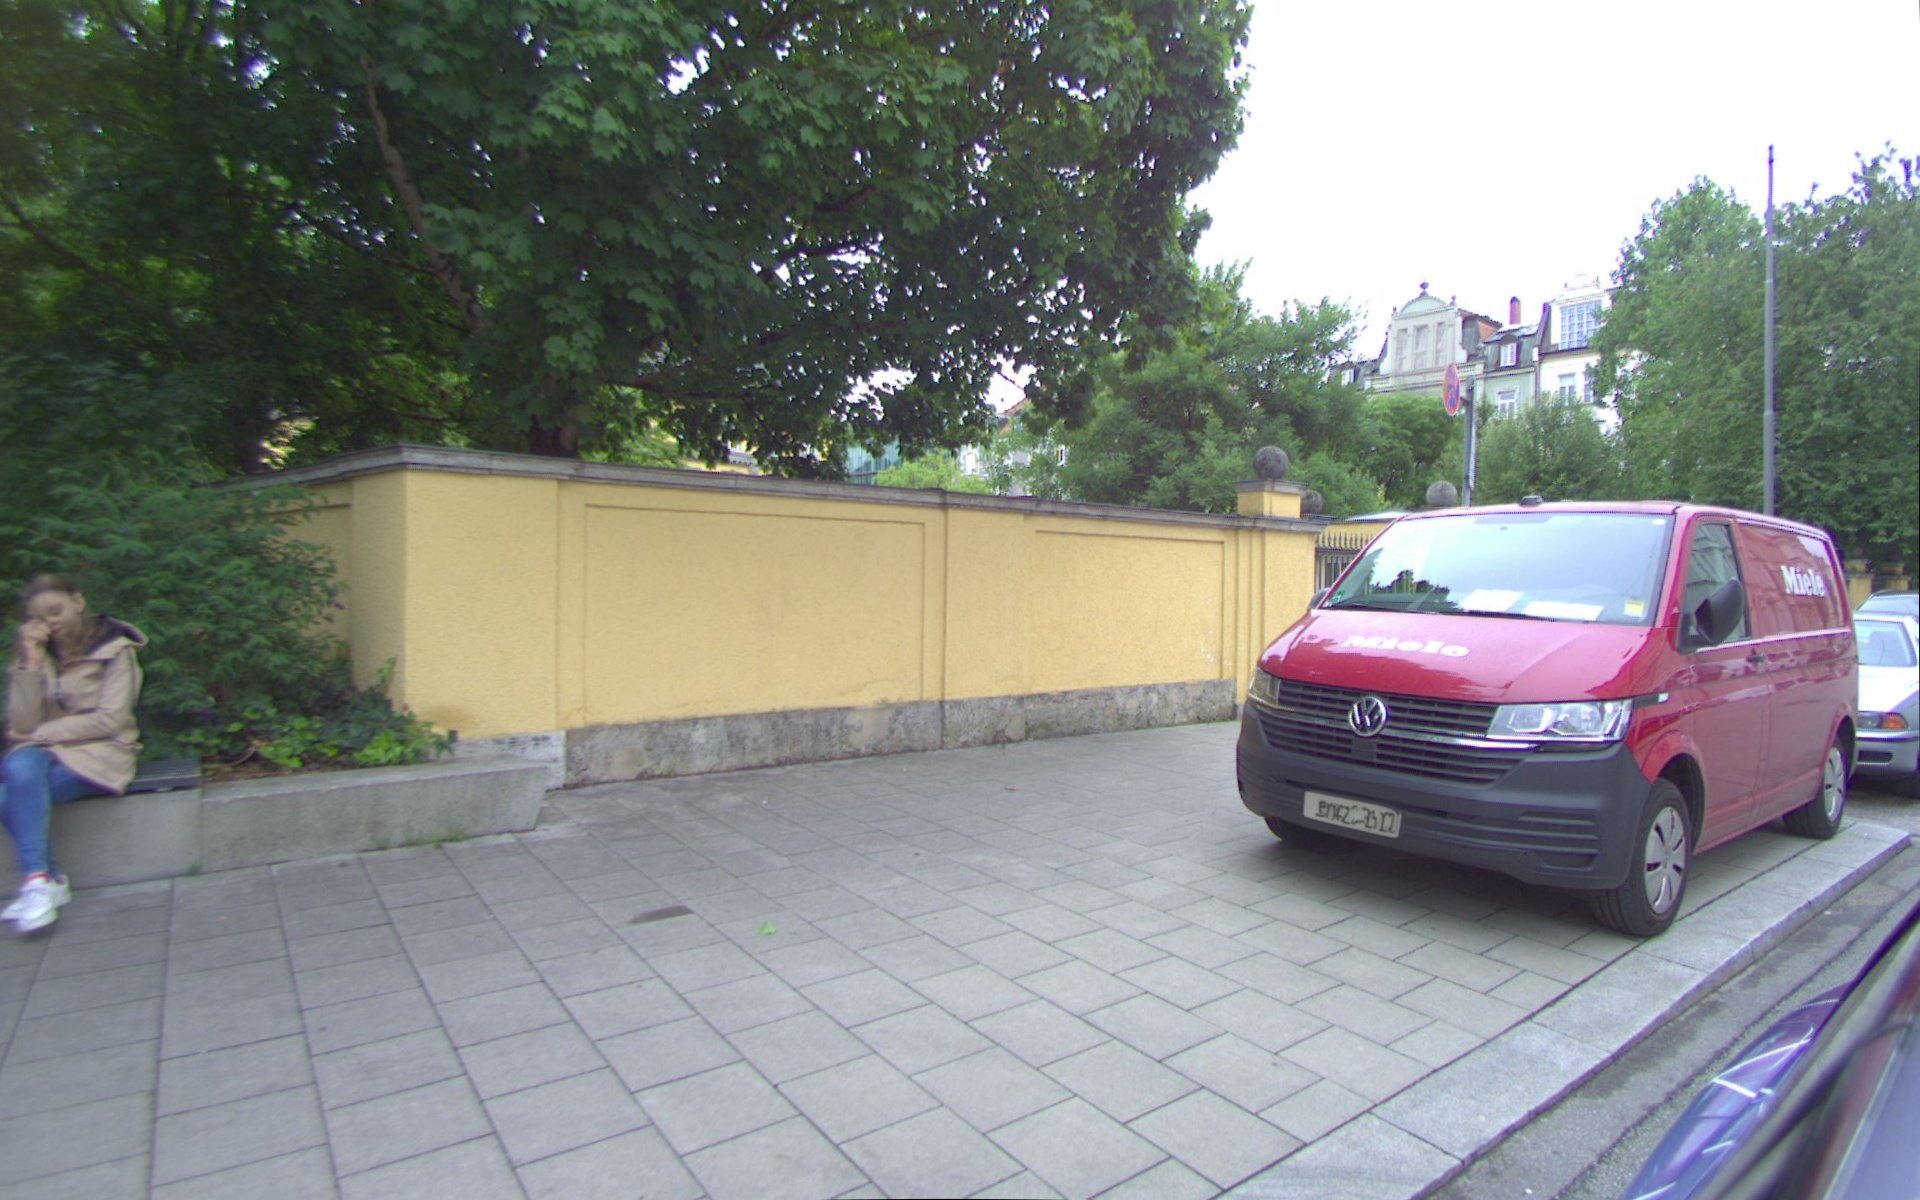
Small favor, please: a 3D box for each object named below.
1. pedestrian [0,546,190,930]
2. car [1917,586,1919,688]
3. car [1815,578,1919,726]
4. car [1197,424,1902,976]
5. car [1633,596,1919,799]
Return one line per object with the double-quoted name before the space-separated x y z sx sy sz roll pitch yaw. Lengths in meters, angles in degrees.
"pedestrian" -3.635 0.476 4.013 0.860 1.355 1.013 0 1 -34
"car" 16.473 0.547 16.044 3.627 1.559 1.487 0 -1 -40
"car" 12.768 0.580 12.998 4.737 1.674 1.888 0 -1 -40
"car" 3.643 0.343 5.811 4.799 1.945 1.878 0 0 -38
"car" 8.023 0.707 9.348 4.291 1.467 1.888 0 -1 -40
